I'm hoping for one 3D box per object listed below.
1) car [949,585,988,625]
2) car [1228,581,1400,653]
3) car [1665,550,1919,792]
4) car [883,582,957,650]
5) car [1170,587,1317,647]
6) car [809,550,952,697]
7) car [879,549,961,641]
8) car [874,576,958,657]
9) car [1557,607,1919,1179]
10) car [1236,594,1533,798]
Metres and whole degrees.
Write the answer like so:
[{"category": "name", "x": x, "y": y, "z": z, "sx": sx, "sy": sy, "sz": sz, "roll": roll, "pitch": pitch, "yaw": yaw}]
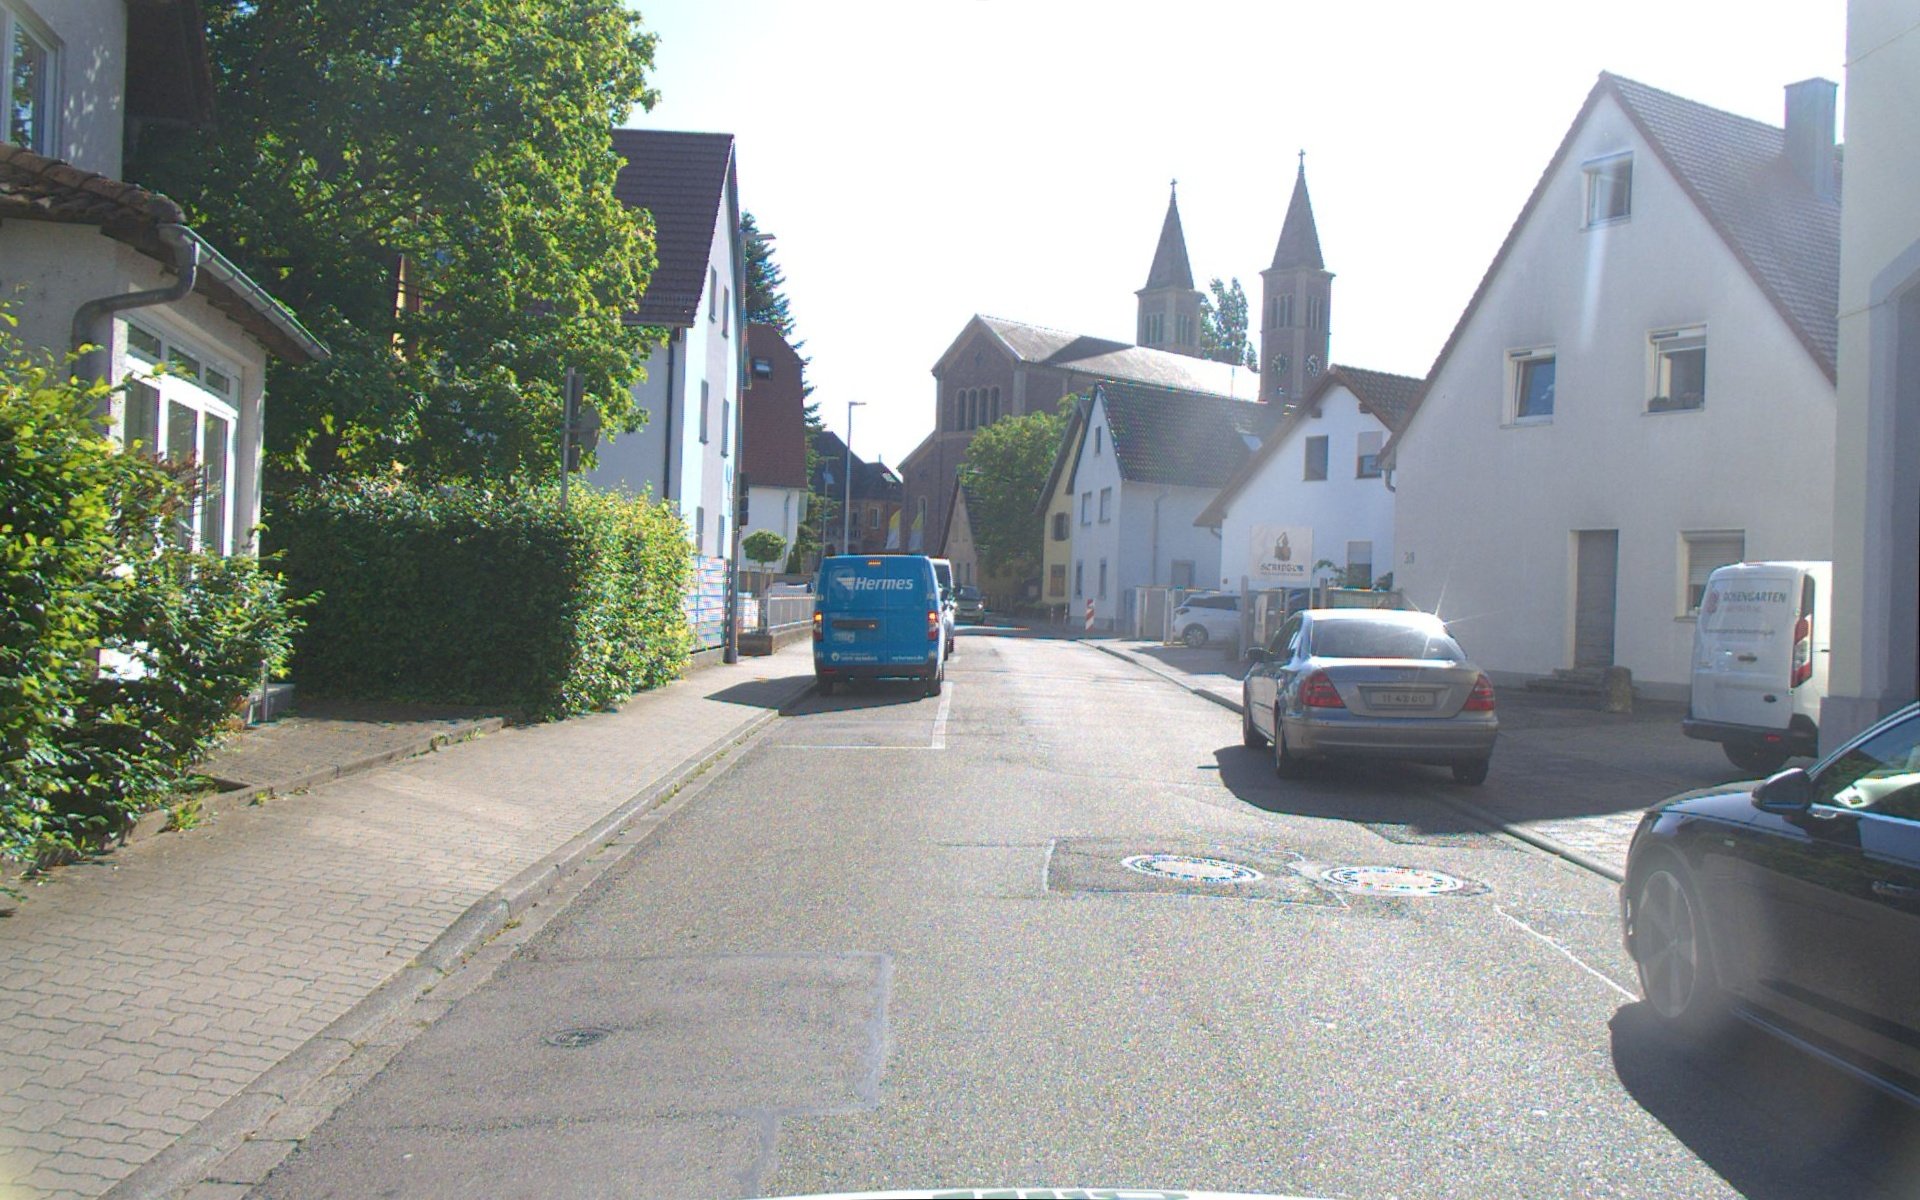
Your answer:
[{"category": "car", "x": 0.343, "y": 0.189, "z": 69.130, "sx": 1.542, "sy": 1.573, "sz": 2.965, "roll": 1, "pitch": 1, "yaw": 0}, {"category": "car", "x": 8.929, "y": 0.418, "z": 41.698, "sx": 3.991, "sy": 1.718, "sz": 1.894, "roll": 1, "pitch": 1, "yaw": -29}, {"category": "car", "x": 8.847, "y": 0.531, "z": 14.430, "sx": 4.672, "sy": 1.919, "sz": 1.905, "roll": -1, "pitch": 1, "yaw": -8}, {"category": "car", "x": -0.930, "y": 0.352, "z": 40.299, "sx": 1.676, "sy": 1.530, "sz": 4.235, "roll": 1, "pitch": 1, "yaw": 0}, {"category": "car", "x": 7.664, "y": 0.451, "z": 44.923, "sx": 3.829, "sy": 1.518, "sz": 1.849, "roll": 1, "pitch": 0, "yaw": 8}, {"category": "car", "x": -1.066, "y": 0.283, "z": 24.555, "sx": 1.863, "sy": 1.951, "sz": 5.070, "roll": 0, "pitch": 1, "yaw": 0}, {"category": "car", "x": -1.081, "y": -0.176, "z": 47.094, "sx": 2.152, "sy": 2.431, "sz": 6.064, "roll": 0, "pitch": 1, "yaw": 0}, {"category": "car", "x": -0.909, "y": 0.315, "z": 35.709, "sx": 1.679, "sy": 1.626, "sz": 3.925, "roll": 1, "pitch": 1, "yaw": 0}, {"category": "car", "x": 3.503, "y": 0.860, "z": 4.645, "sx": 1.772, "sy": 1.501, "sz": 4.843, "roll": 3, "pitch": 1, "yaw": -1}, {"category": "car", "x": 3.724, "y": 0.746, "z": 15.336, "sx": 1.773, "sy": 1.501, "sz": 4.662, "roll": 3, "pitch": 0, "yaw": 4}]
